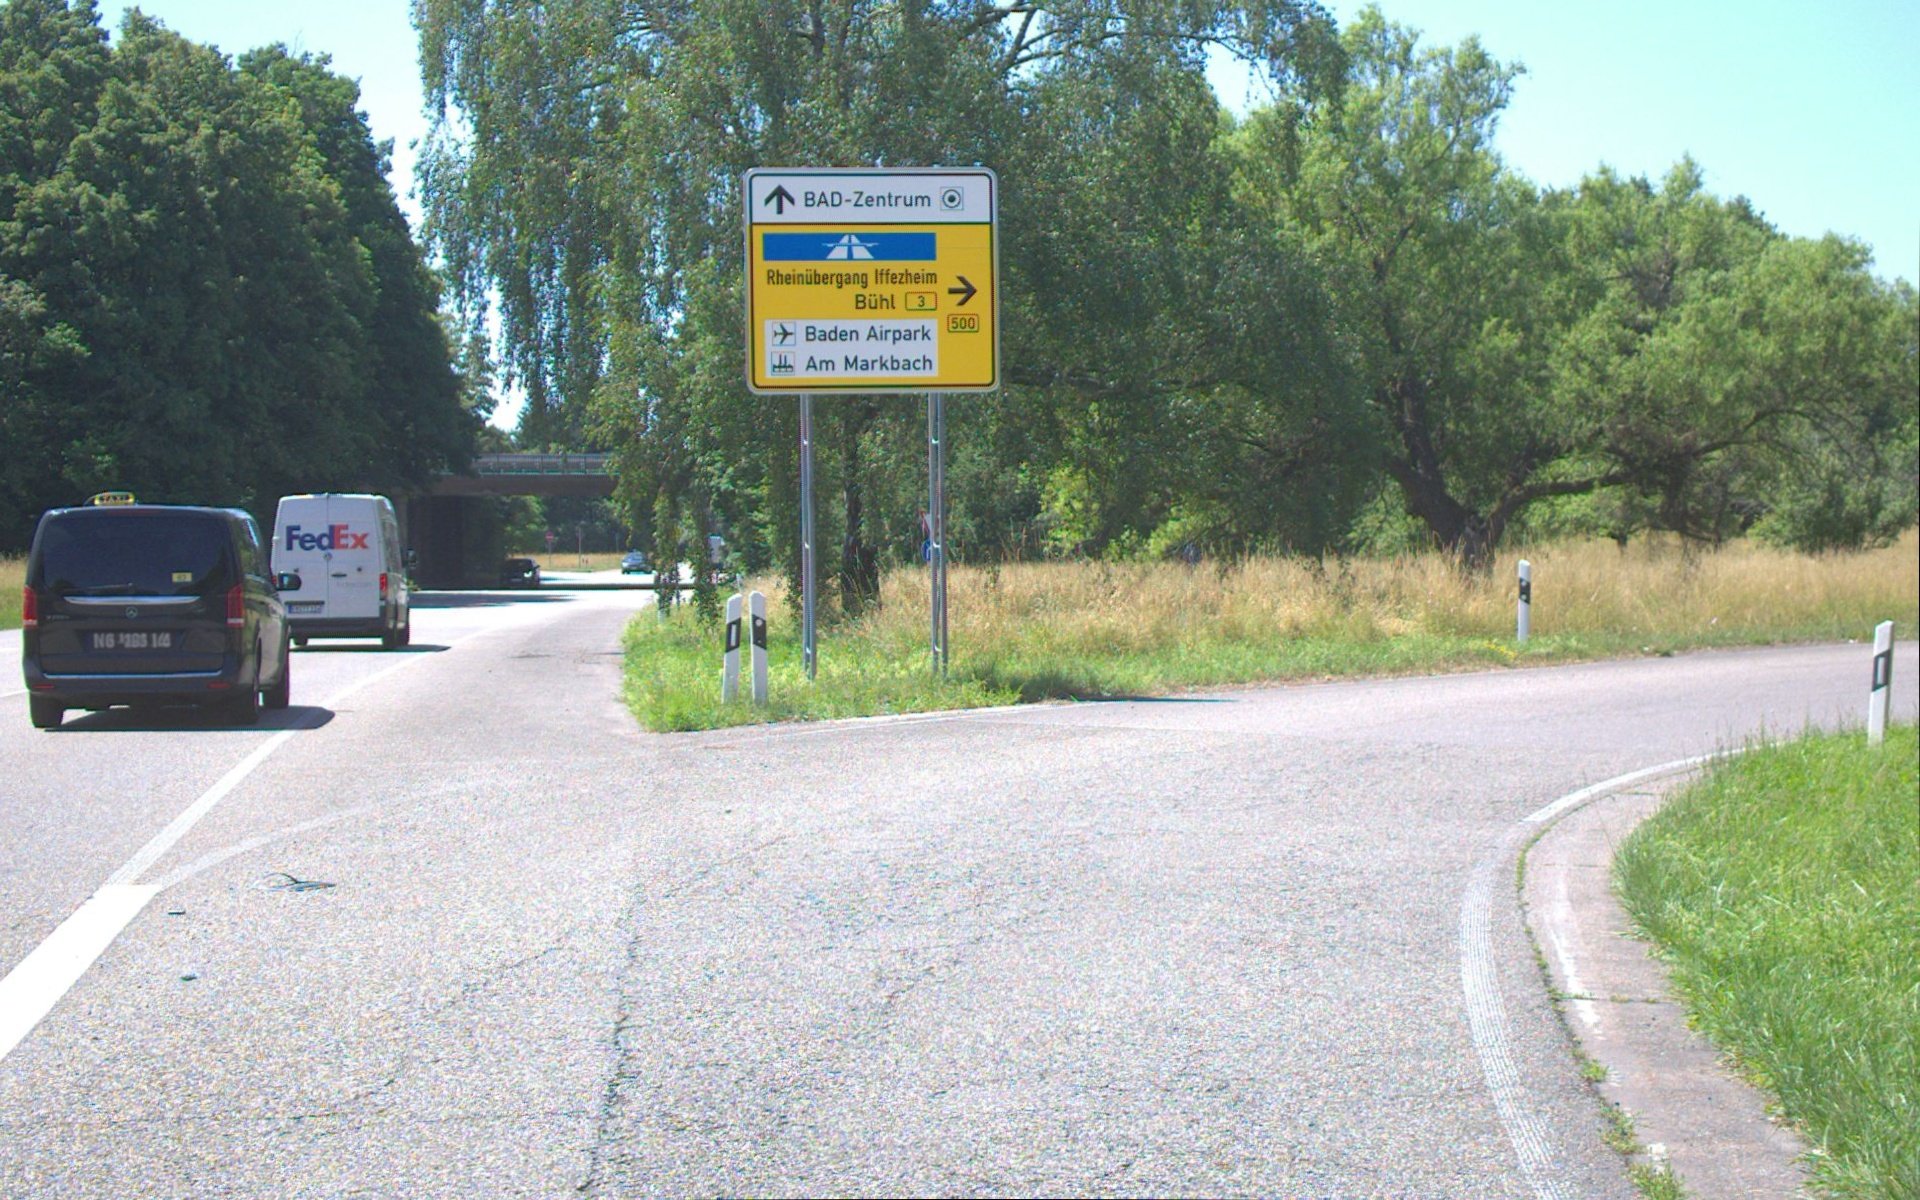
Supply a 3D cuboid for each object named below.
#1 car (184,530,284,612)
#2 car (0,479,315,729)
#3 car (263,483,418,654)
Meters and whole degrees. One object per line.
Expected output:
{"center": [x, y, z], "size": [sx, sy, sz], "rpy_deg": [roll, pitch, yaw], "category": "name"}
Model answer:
{"center": [-18.833, -0.762, 89.336], "size": [1.993, 2.007, 4.001], "rpy_deg": [2, 1, -5], "category": "car"}
{"center": [-6.899, 0.001, 30.041], "size": [1.993, 1.946, 5.006], "rpy_deg": [2, 1, -5], "category": "car"}
{"center": [-10.361, -0.538, 57.806], "size": [2.078, 2.693, 4.667], "rpy_deg": [2, 1, -5], "category": "car"}
